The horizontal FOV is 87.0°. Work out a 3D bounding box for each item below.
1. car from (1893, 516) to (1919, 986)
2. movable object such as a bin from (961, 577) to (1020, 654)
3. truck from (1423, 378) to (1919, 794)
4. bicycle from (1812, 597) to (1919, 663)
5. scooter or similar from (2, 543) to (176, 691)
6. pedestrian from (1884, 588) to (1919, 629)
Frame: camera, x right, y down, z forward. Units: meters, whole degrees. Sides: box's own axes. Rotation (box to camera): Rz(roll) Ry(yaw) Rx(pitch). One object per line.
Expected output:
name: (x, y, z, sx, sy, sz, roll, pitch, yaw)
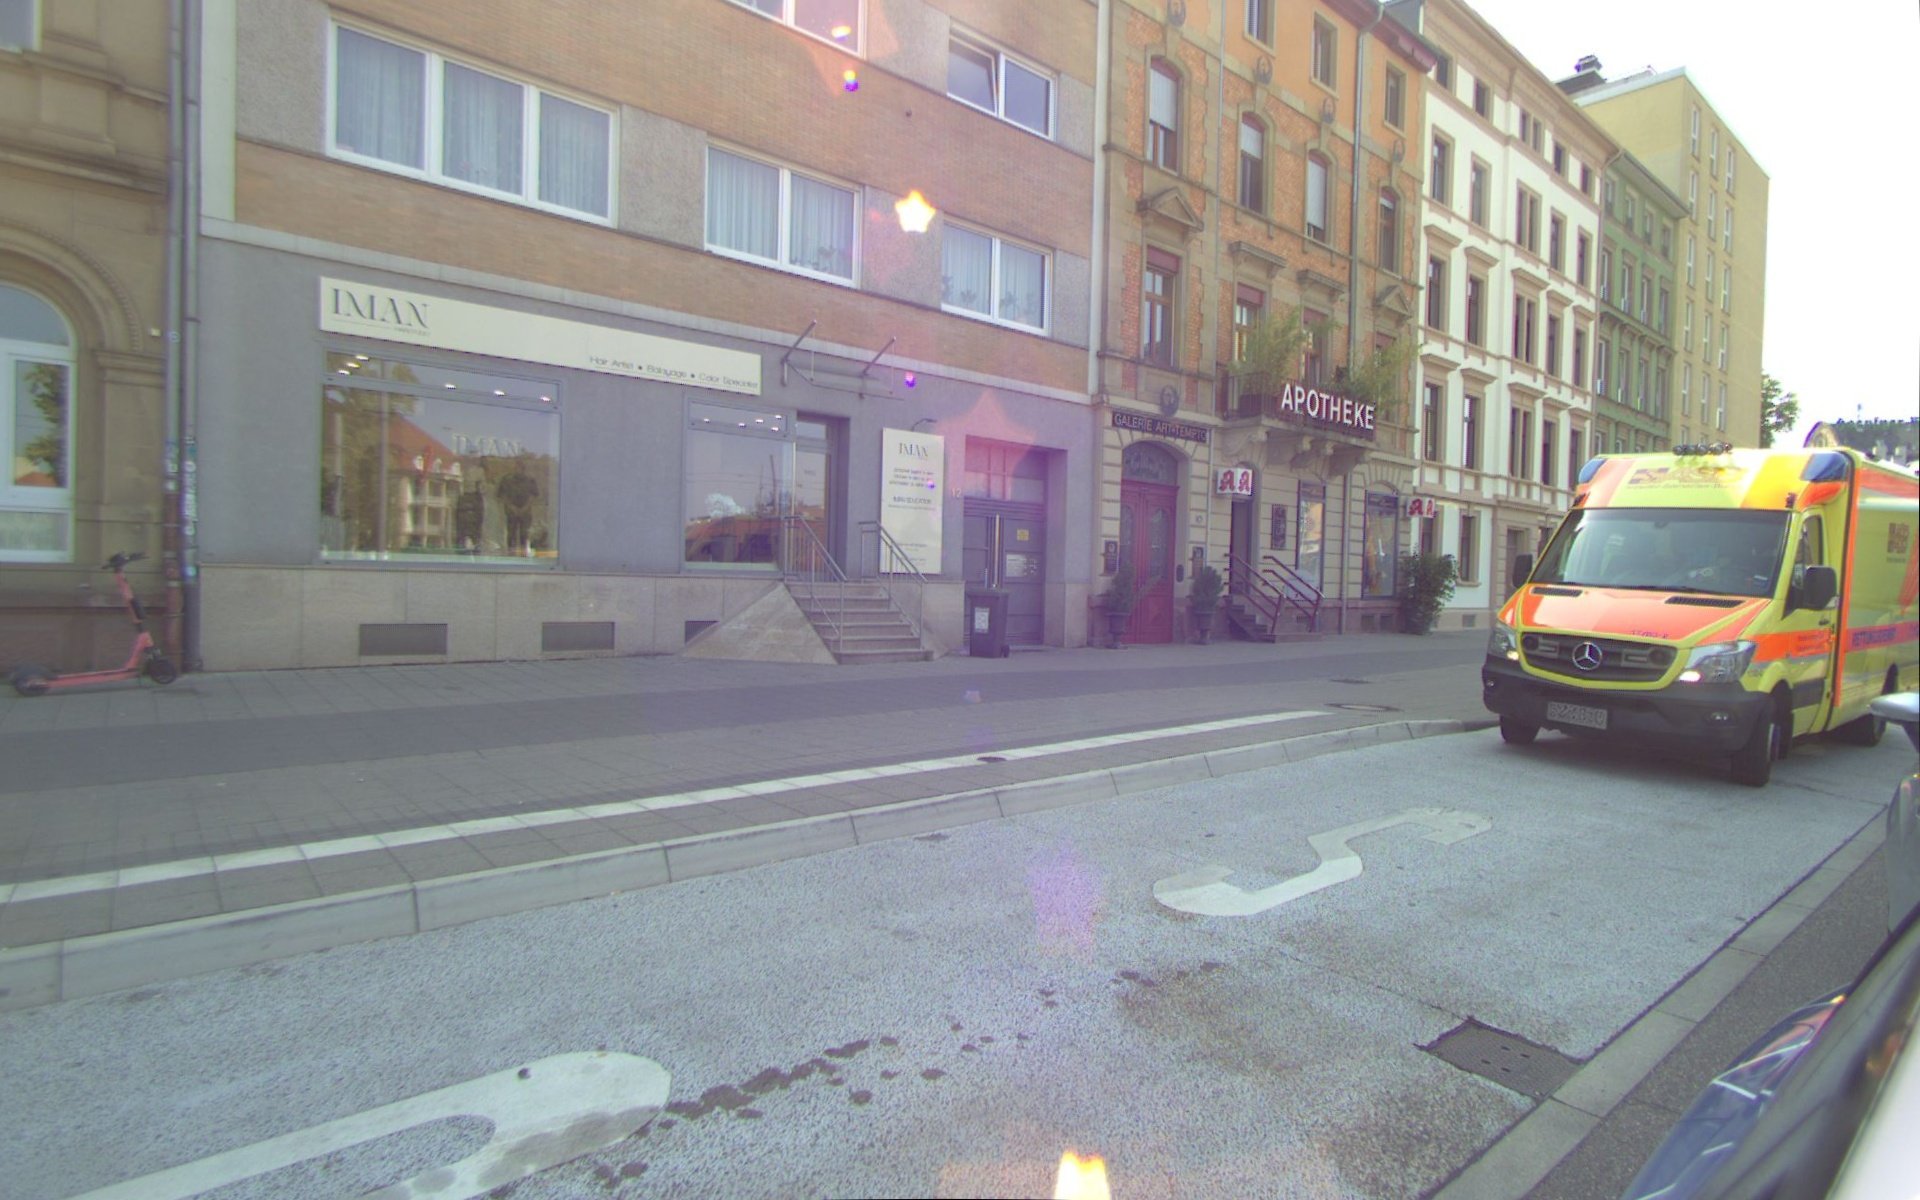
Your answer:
car: (5.290, 0.531, 4.114, 3.929, 1.608, 1.728, 0, 1, -40)
movable object such as a bin: (0.483, 0.223, 15.668, 0.640, 1.118, 0.723, 3, 2, 24)
truck: (7.231, -0.170, 9.646, 6.221, 2.803, 2.336, 0, 4, -37)
bicycle: (17.965, 0.570, 19.869, 0.427, 1.219, 1.841, 1, 0, -39)
scooter or similar: (-7.657, 0.130, 8.918, 0.476, 1.227, 1.124, 3, 2, 44)
pedestrian: (41.969, 0.357, 45.127, 0.781, 1.780, 0.689, 2, 2, 0)
